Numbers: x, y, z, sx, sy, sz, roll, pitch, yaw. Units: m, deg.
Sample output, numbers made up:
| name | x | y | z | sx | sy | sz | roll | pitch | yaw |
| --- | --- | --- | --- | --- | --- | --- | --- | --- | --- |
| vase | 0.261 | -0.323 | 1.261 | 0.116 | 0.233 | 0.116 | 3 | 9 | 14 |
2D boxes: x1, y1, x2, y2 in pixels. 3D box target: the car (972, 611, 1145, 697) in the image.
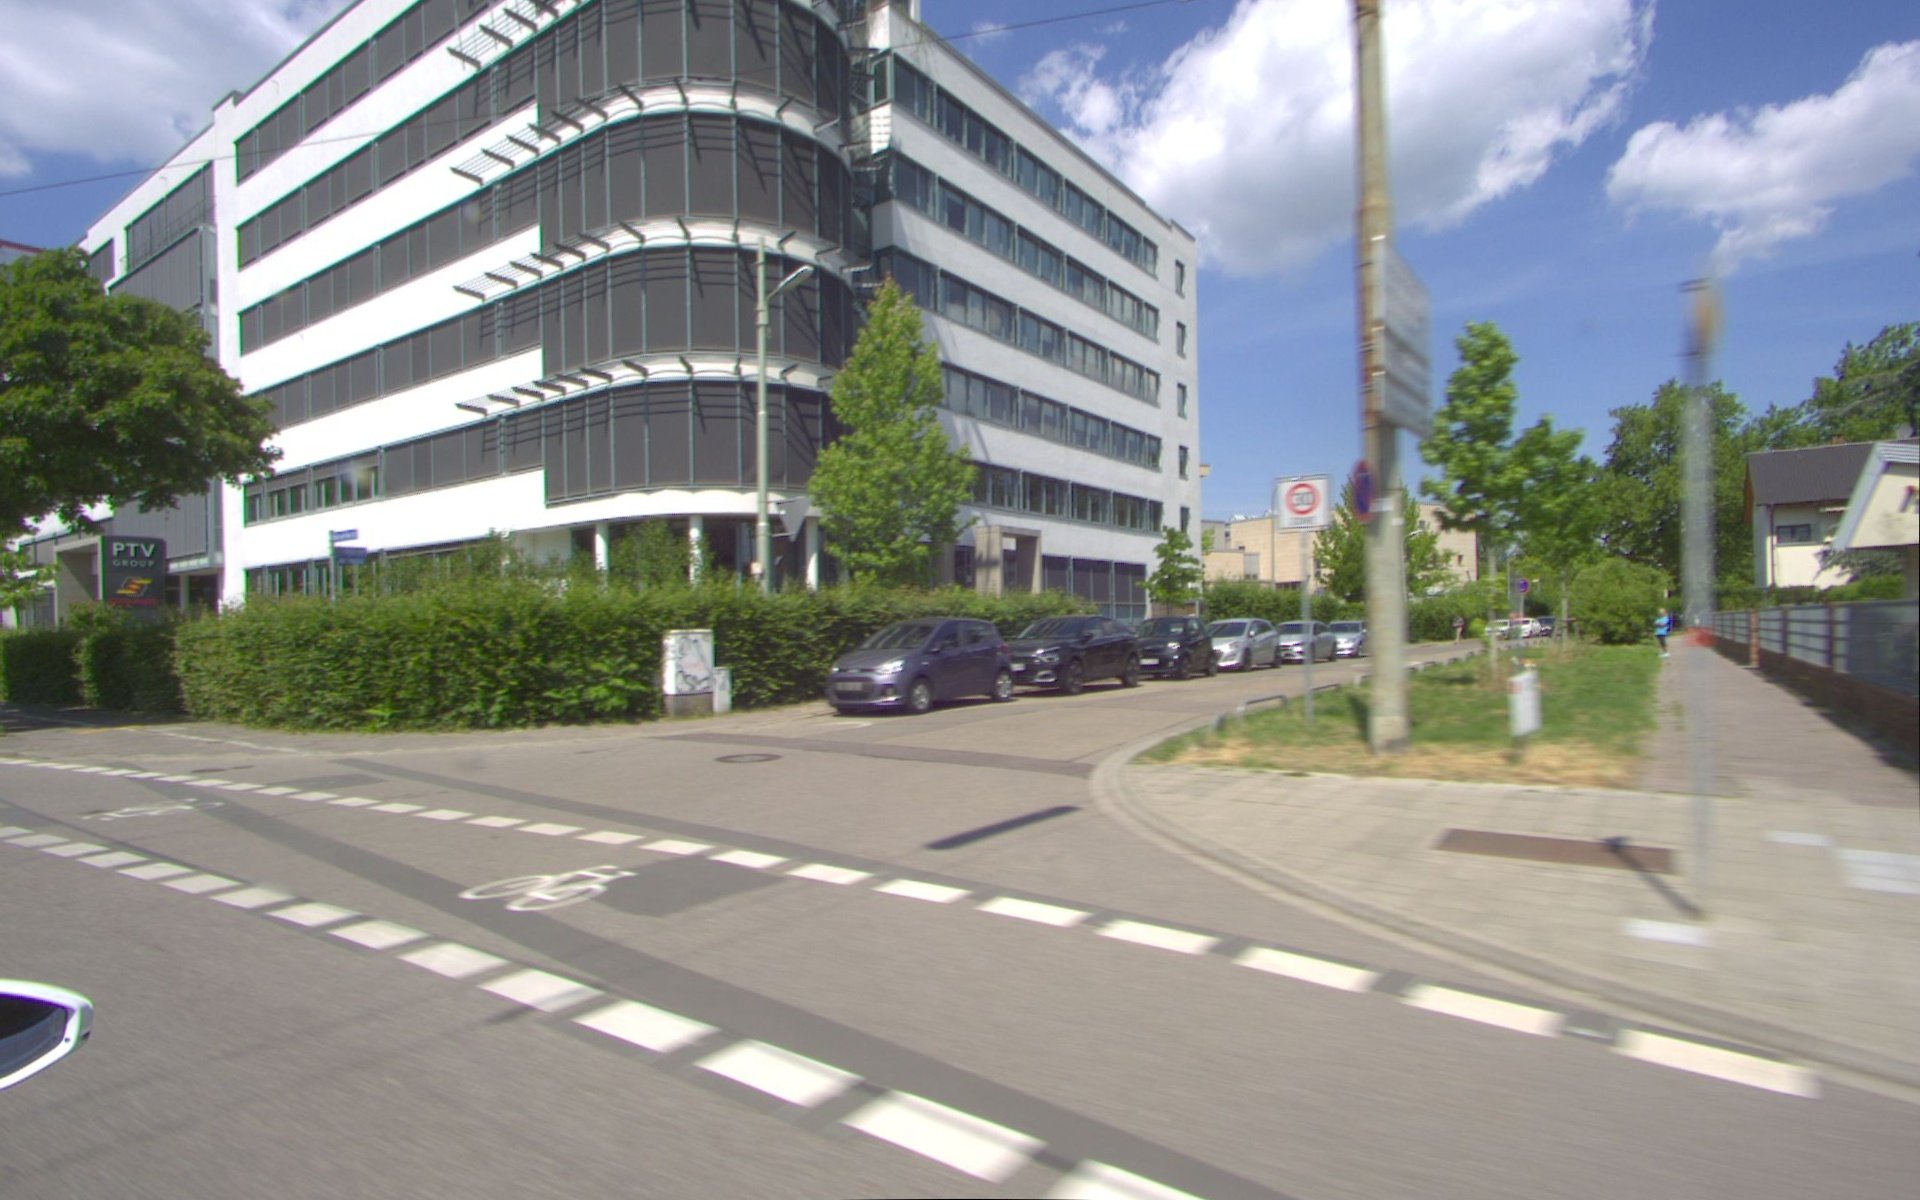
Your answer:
| name | x | y | z | sx | sy | sz | roll | pitch | yaw |
| --- | --- | --- | --- | --- | --- | --- | --- | --- | --- |
| car | 2.076 | 1.029 | 20.158 | 1.735 | 1.543 | 3.976 | -2 | -2 | 35 |

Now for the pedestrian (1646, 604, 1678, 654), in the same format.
| name | x | y | z | sx | sy | sz | roll | pitch | yaw |
| --- | --- | --- | --- | --- | --- | --- | --- | --- | --- |
| pedestrian | 24.133 | 1.018 | 34.445 | 0.778 | 1.680 | 0.999 | -1 | -3 | 30 |

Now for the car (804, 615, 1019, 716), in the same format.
| name | x | y | z | sx | sy | sz | roll | pitch | yaw |
| --- | --- | --- | --- | --- | --- | --- | --- | --- | --- |
| car | -0.704 | 1.010 | 16.642 | 1.735 | 1.470 | 3.590 | -2 | -2 | 35 |

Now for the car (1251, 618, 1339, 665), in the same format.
| name | x | y | z | sx | sy | sz | roll | pitch | yaw |
| --- | --- | --- | --- | --- | --- | --- | --- | --- | --- |
| car | 11.291 | 1.374 | 33.596 | 1.736 | 1.462 | 3.976 | -2 | -2 | 35 |

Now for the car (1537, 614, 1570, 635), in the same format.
| name | x | y | z | sx | sy | sz | roll | pitch | yaw |
| --- | --- | --- | --- | --- | --- | --- | --- | --- | --- |
| car | 43.844 | 1.783 | 73.960 | 1.736 | 1.462 | 3.976 | -2 | -2 | 35 |

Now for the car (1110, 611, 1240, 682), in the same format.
| name | x | y | z | sx | sy | sz | roll | pitch | yaw |
| --- | --- | --- | --- | --- | --- | --- | --- | --- | --- |
| car | 5.447 | 1.127 | 25.042 | 1.736 | 1.626 | 3.976 | -2 | -2 | 35 |

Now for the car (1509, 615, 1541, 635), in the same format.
| name | x | y | z | sx | sy | sz | roll | pitch | yaw |
| --- | --- | --- | --- | --- | --- | --- | --- | --- | --- |
| car | 43.145 | 1.931 | 76.467 | 1.736 | 1.462 | 3.976 | -2 | -2 | 35 |

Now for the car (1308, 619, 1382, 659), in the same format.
| name | x | y | z | sx | sy | sz | roll | pitch | yaw |
| --- | --- | --- | --- | --- | --- | --- | --- | --- | --- |
| car | 14.973 | 1.495 | 38.862 | 1.736 | 1.462 | 3.976 | -2 | -2 | 35 |

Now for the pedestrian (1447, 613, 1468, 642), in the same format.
| name | x | y | z | sx | sy | sz | roll | pitch | yaw |
| --- | --- | --- | --- | --- | --- | --- | --- | --- | --- |
| pedestrian | 30.130 | 1.681 | 60.653 | 0.990 | 1.738 | 0.785 | -2 | -3 | 37 |

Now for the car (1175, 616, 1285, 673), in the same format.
| name | x | y | z | sx | sy | sz | roll | pitch | yaw |
| --- | --- | --- | --- | --- | --- | --- | --- | --- | --- |
| car | 7.738 | 1.240 | 28.502 | 1.736 | 1.519 | 3.976 | -2 | -2 | 35 |

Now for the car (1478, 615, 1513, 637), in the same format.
| name | x | y | z | sx | sy | sz | roll | pitch | yaw |
| --- | --- | --- | --- | --- | --- | --- | --- | --- | --- |
| car | 38.482 | 1.879 | 71.912 | 1.736 | 1.462 | 3.976 | -2 | -2 | 35 |
